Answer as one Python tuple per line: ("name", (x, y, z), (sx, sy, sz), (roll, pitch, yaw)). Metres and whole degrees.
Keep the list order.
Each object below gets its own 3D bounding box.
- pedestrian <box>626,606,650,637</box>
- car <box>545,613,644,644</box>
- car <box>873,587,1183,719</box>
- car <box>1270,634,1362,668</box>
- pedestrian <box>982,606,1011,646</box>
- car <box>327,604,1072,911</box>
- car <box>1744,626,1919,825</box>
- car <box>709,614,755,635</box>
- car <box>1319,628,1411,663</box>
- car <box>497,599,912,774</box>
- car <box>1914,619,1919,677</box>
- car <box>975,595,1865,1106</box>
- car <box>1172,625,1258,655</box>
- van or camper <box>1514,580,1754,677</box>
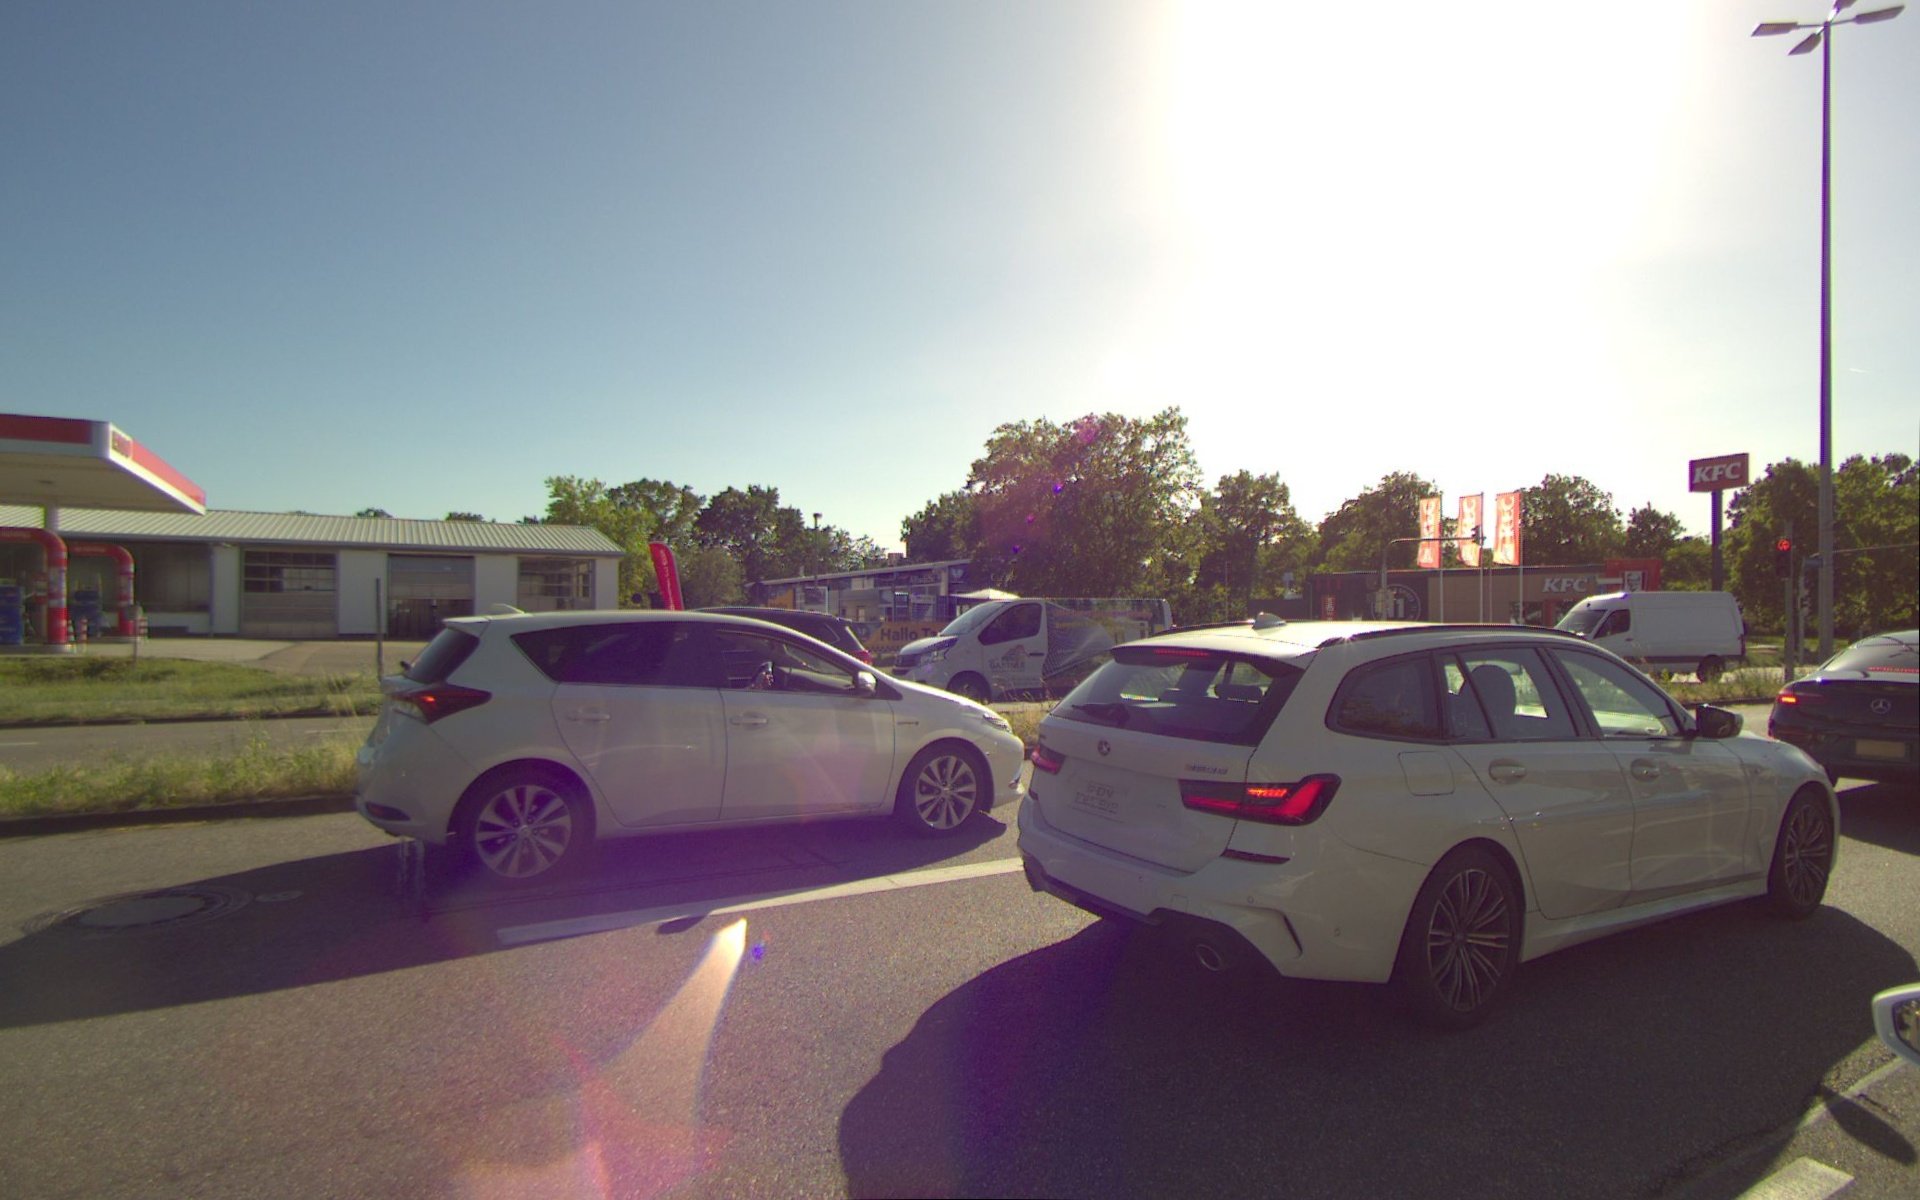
("pedestrian", (-18.529, 1.247, 57.780), (1.086, 1.787, 1.151), (1, -1, -28))
("car", (-18.027, 1.419, 49.552), (4.486, 1.458, 1.741), (1, -1, -26))
("car", (1.164, 0.900, 17.308), (4.952, 2.040, 1.991), (1, -3, -21))
("car", (17.000, 2.409, 48.161), (1.801, 1.448, 4.022), (1, -1, -27))
("pedestrian", (1.689, 1.188, 46.409), (0.916, 1.840, 1.013), (1, -1, -34))
("car", (-1.556, 0.787, 6.653), (4.352, 1.448, 1.848), (1, -1, -30))
("car", (8.783, 0.963, 8.620), (4.409, 1.433, 1.760), (1, -1, -30))
("car", (-19.957, 2.134, 88.250), (2.085, 1.840, 4.000), (0, -1, 20))
("car", (20.046, 2.229, 49.852), (1.804, 1.616, 4.016), (1, -1, -32))
("car", (-2.925, 0.874, 11.784), (4.385, 1.712, 1.869), (1, 0, -31))
("car", (29.850, 1.403, 27.958), (4.540, 1.675, 1.993), (0, -1, 37))
("car", (2.405, 0.795, 4.899), (4.409, 1.529, 1.760), (1, -1, -30))
("car", (13.766, 2.130, 54.519), (1.840, 1.449, 4.700), (0, 0, -28))
("van or camper", (19.620, 0.832, 29.392), (5.842, 2.686, 1.999), (1, -1, -4))
